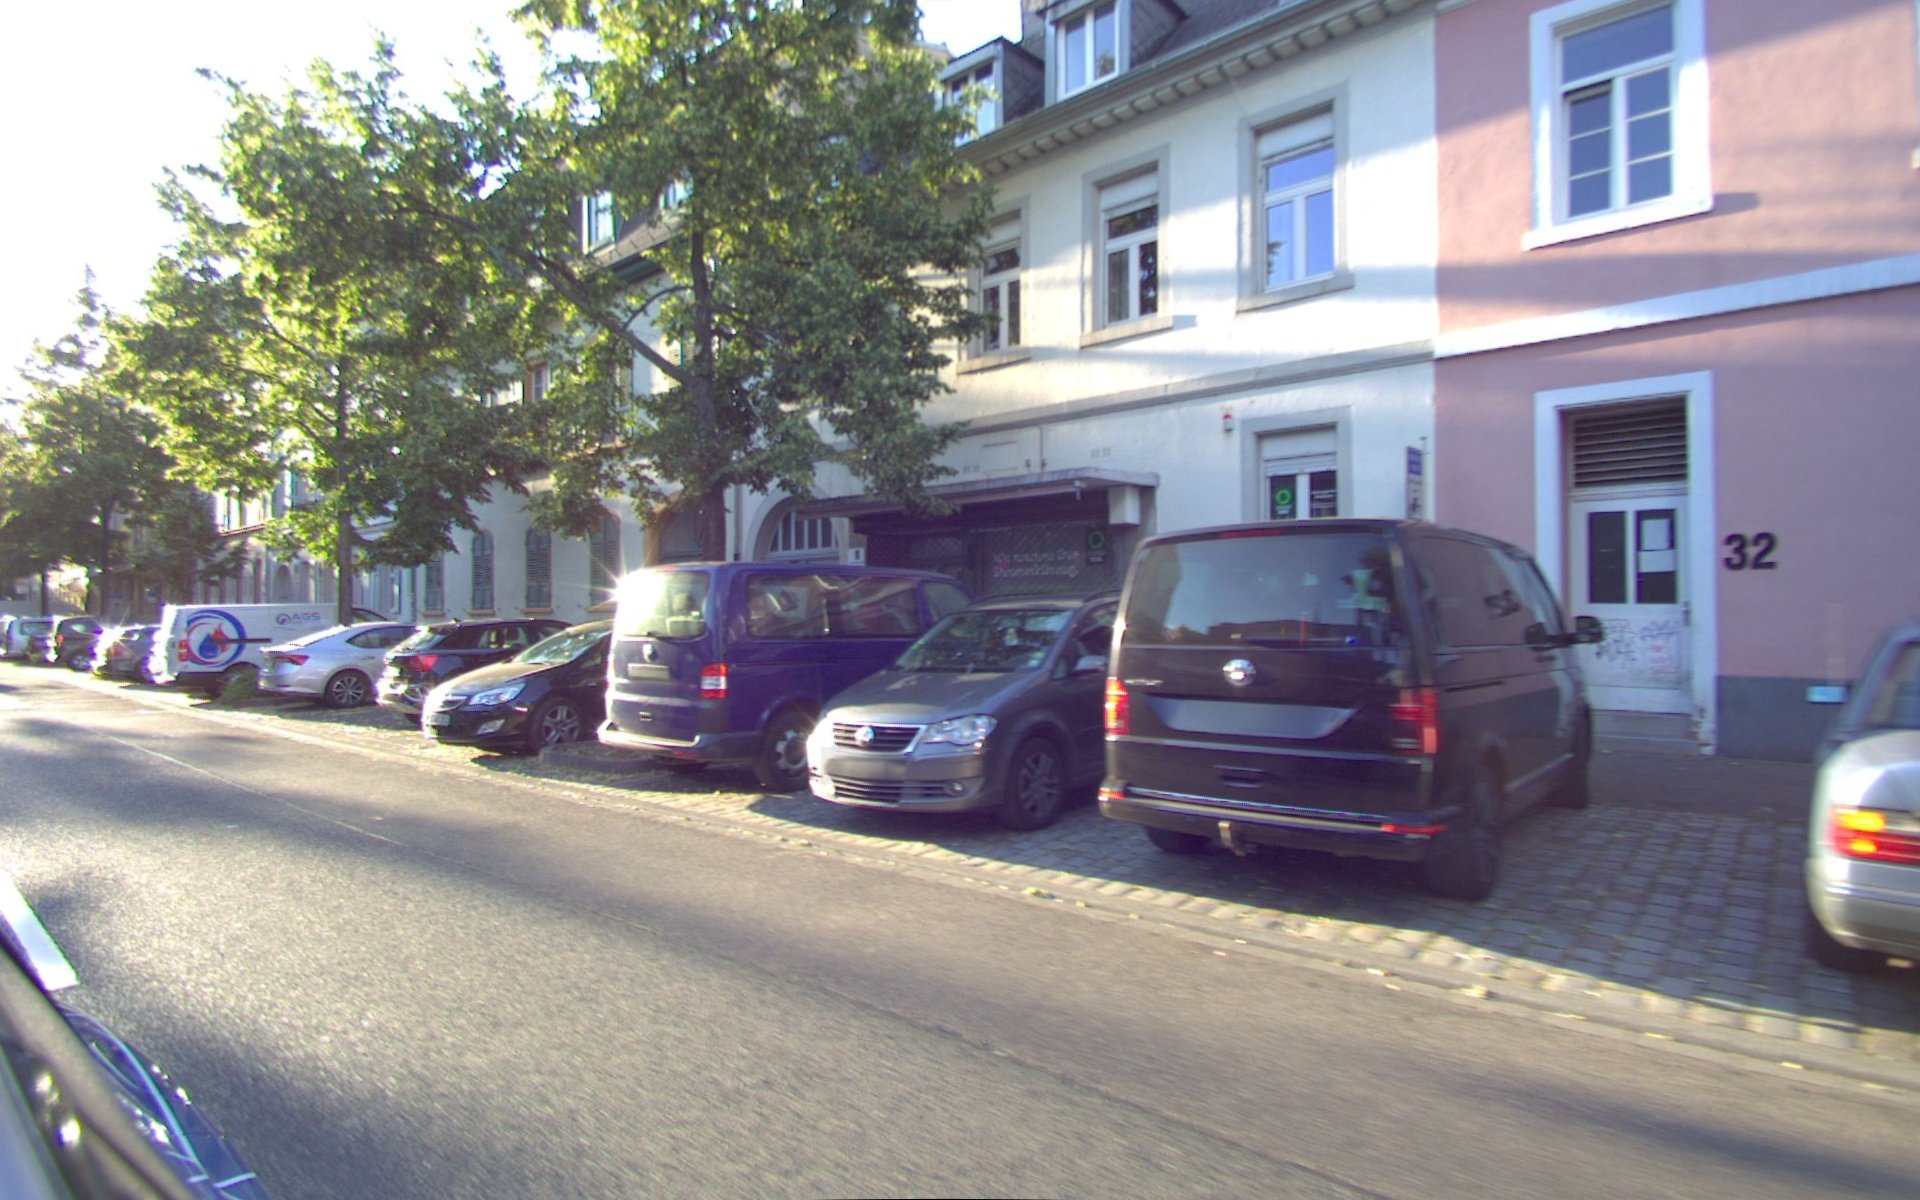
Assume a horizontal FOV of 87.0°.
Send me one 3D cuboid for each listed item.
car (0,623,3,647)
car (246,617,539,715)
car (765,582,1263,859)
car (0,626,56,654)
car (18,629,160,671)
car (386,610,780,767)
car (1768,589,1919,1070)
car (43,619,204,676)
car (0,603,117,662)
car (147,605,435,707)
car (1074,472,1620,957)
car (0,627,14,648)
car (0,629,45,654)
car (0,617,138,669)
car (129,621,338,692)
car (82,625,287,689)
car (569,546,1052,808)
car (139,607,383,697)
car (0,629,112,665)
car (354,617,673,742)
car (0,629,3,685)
[{"bbox_3d":[-74.015,2.689,74.770,2.052,1.825,4.657,-2,0,42],"label":"car"},{"bbox_3d":[-10.401,1.131,18.804,1.734,1.496,4.429,-2,-1,43],"label":"car"},{"bbox_3d":[0.658,0.713,8.182,1.860,1.649,4.086,-2,-1,42],"label":"car"},{"bbox_3d":[-53.281,2.256,56.333,1.969,1.494,4.143,-2,0,40],"label":"car"},{"bbox_3d":[-34.478,1.945,40.144,1.593,1.450,4.107,-2,-1,42],"label":"car"},{"bbox_3d":[-4.449,0.942,12.562,1.838,1.512,4.287,-2,0,36],"label":"car"},{"bbox_3d":[4.968,0.678,4.352,1.893,1.481,4.543,-2,-1,44],"label":"car"},{"bbox_3d":[-28.843,1.583,34.981,1.807,1.820,4.093,-2,-2,43],"label":"car"},{"bbox_3d":[-44.569,1.543,48.885,2.170,2.641,5.599,-2,0,41],"label":"car"},{"bbox_3d":[-14.173,1.102,21.679,1.973,1.922,4.819,-2,-2,41],"label":"car"},{"bbox_3d":[2.785,0.465,6.517,1.963,1.991,4.439,-2,-1,39],"label":"car"},{"bbox_3d":[-68.155,2.691,69.597,1.821,1.433,4.337,-2,0,41],"label":"car"},{"bbox_3d":[-58.514,2.570,61.619,1.695,1.459,3.877,-2,0,38],"label":"car"},{"bbox_3d":[-36.792,1.733,41.633,1.919,1.968,4.450,-2,-1,43],"label":"car"},{"bbox_3d":[-18.137,1.353,25.379,1.965,1.567,3.992,-2,-2,44],"label":"car"},{"bbox_3d":[-20.312,1.442,26.632,1.962,1.495,3.995,-2,-2,41],"label":"car"},{"bbox_3d":[-1.258,0.598,10.045,2.068,1.991,4.436,-2,-1,42],"label":"car"},{"bbox_3d":[-16.181,1.134,23.609,1.893,1.884,4.381,-2,-2,42],"label":"car"},{"bbox_3d":[-40.639,2.083,45.243,1.748,1.414,3.947,0,0,40],"label":"car"},{"bbox_3d":[-6.489,1.057,14.965,1.905,1.512,3.879,-2,-1,44],"label":"car"},{"bbox_3d":[-27.169,1.519,25.625,4.006,1.472,1.689,-1,-1,-9],"label":"car"}]
